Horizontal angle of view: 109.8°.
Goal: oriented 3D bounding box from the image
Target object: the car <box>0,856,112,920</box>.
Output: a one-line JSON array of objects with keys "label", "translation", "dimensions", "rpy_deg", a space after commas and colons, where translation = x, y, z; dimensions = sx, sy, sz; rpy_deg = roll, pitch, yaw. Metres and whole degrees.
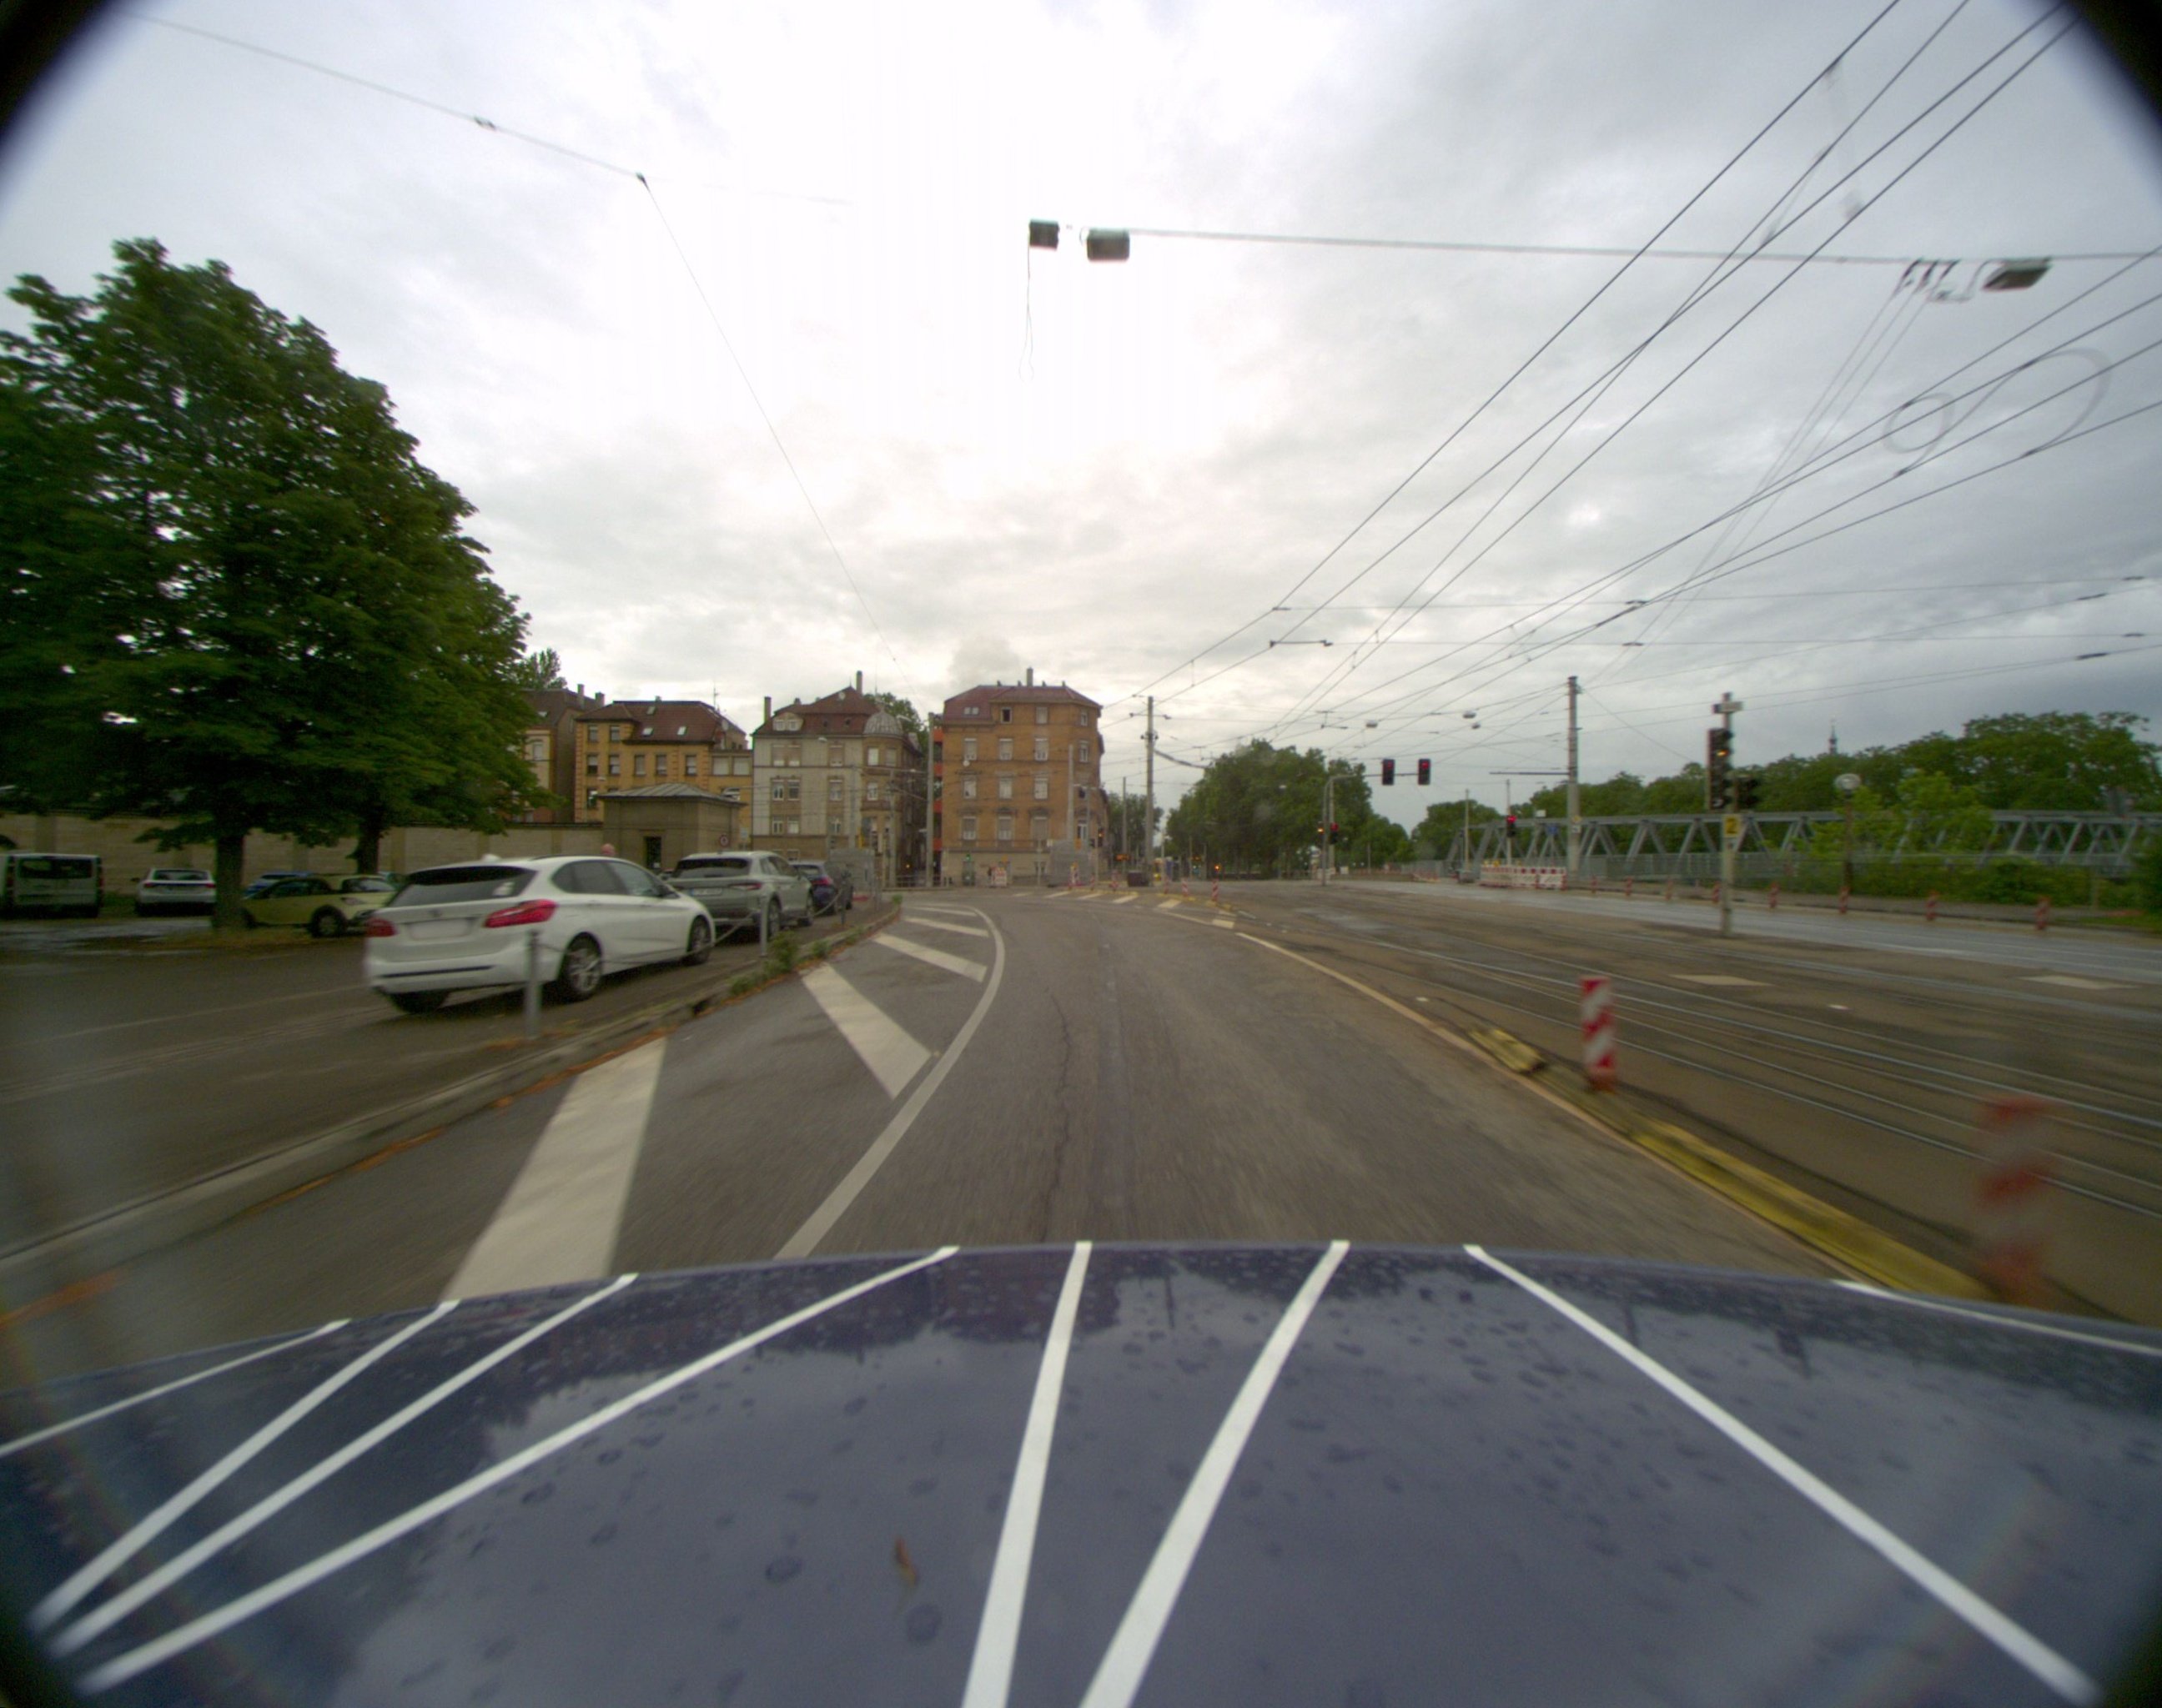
[{"label": "car", "translation": [-32.302, 0.999, 23.810], "dimensions": [3.989, 1.825, 1.835], "rpy_deg": [0, 0, 30]}]

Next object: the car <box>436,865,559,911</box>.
[{"label": "car", "translation": [-22.134, 1.249, 29.019], "dimensions": [1.831, 1.573, 3.998], "rpy_deg": [0, 0, -4]}]

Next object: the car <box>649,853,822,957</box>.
[{"label": "car", "translation": [-6.424, 0.835, 14.665], "dimensions": [1.721, 1.630, 4.140], "rpy_deg": [-3, 1, -6]}]

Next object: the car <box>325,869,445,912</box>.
[{"label": "car", "translation": [-26.116, 1.320, 28.690], "dimensions": [1.724, 1.433, 3.994], "rpy_deg": [0, 0, -16]}]

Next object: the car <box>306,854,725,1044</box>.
[{"label": "car", "translation": [-6.121, 0.870, 8.999], "dimensions": [1.843, 1.630, 4.142], "rpy_deg": [-3, 0, -1]}]

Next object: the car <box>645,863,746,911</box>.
[{"label": "car", "translation": [-14.045, 1.145, 27.931], "dimensions": [1.831, 1.573, 3.999], "rpy_deg": [0, 0, -3]}]

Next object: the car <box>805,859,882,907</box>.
[{"label": "car", "translation": [-8.320, 1.002, 26.949], "dimensions": [1.844, 1.455, 4.141], "rpy_deg": [-3, -1, -7]}]

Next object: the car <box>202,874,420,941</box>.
[{"label": "car", "translation": [-18.657, 1.256, 18.511], "dimensions": [3.741, 1.460, 1.729], "rpy_deg": [0, 0, 5]}]

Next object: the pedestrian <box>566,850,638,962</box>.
[{"label": "pedestrian", "translation": [-7.956, 0.839, 12.657], "dimensions": [0.698, 1.796, 0.781], "rpy_deg": [-1, 1, -7]}]

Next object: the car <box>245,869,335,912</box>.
[{"label": "car", "translation": [-29.229, 1.307, 28.192], "dimensions": [1.707, 1.387, 3.989], "rpy_deg": [0, 0, -37]}]

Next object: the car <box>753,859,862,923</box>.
[{"label": "car", "translation": [-7.281, 0.925, 20.652], "dimensions": [1.844, 1.455, 4.140], "rpy_deg": [-3, 0, -7]}]

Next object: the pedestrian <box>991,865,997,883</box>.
[{"label": "pedestrian", "translation": [-7.783, 1.768, 68.090], "dimensions": [0.511, 1.644, 0.535], "rpy_deg": [0, 0, 1]}]

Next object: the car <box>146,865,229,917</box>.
[{"label": "car", "translation": [-30.569, 1.201, 25.966], "dimensions": [3.988, 1.573, 1.686], "rpy_deg": [0, 0, 38]}]
